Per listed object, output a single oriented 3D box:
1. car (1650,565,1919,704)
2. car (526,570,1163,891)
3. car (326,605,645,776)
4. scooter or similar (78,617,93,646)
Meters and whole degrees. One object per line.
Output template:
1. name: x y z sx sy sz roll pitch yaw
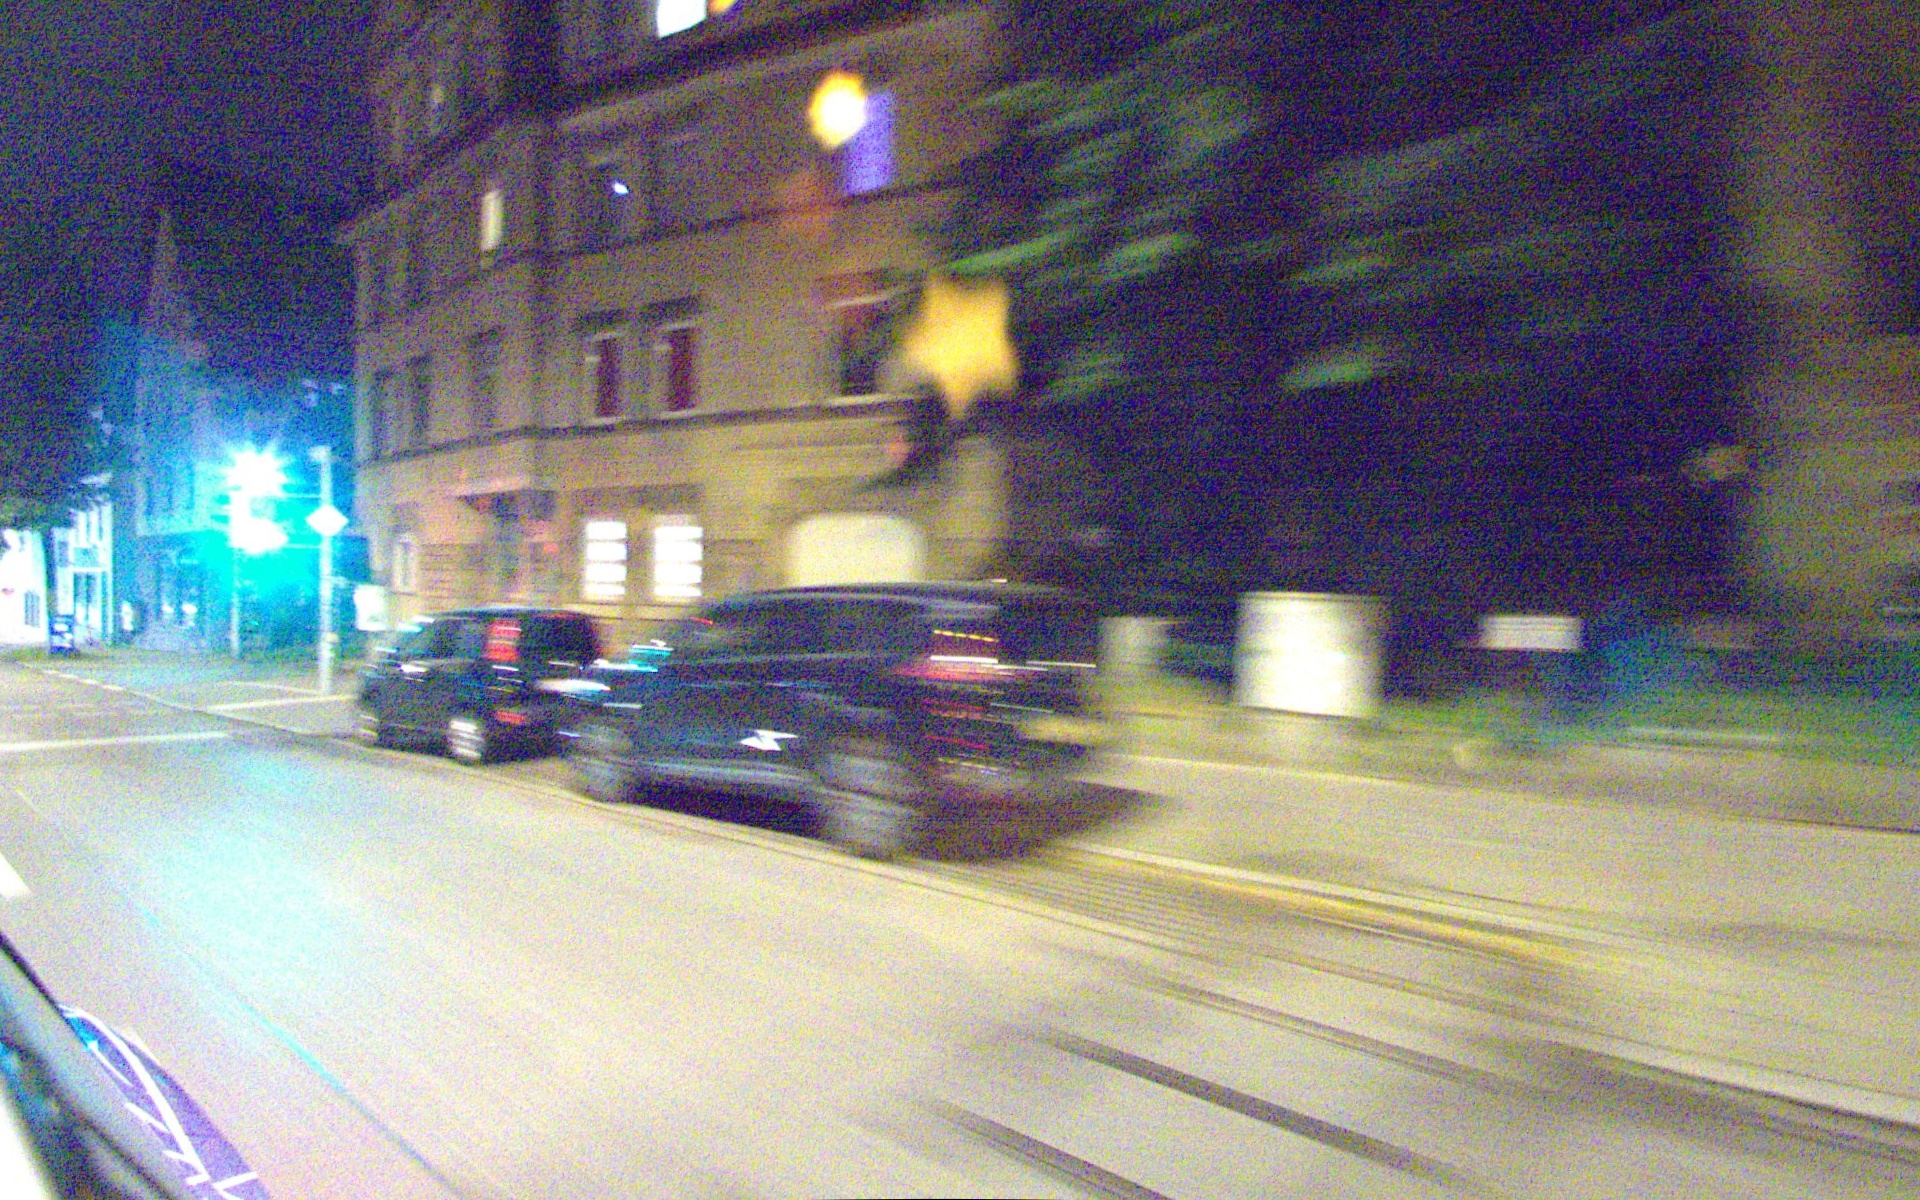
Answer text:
1. car: 9.362 0.322 10.474 3.559 1.326 1.540 -1 0 39
2. car: -1.068 0.721 7.416 4.664 1.663 1.831 -2 0 38
3. car: -5.237 0.845 11.007 3.696 1.526 1.632 -1 0 38
4. scooter or similar: -37.730 1.364 43.670 1.335 1.235 0.328 -1 0 43
